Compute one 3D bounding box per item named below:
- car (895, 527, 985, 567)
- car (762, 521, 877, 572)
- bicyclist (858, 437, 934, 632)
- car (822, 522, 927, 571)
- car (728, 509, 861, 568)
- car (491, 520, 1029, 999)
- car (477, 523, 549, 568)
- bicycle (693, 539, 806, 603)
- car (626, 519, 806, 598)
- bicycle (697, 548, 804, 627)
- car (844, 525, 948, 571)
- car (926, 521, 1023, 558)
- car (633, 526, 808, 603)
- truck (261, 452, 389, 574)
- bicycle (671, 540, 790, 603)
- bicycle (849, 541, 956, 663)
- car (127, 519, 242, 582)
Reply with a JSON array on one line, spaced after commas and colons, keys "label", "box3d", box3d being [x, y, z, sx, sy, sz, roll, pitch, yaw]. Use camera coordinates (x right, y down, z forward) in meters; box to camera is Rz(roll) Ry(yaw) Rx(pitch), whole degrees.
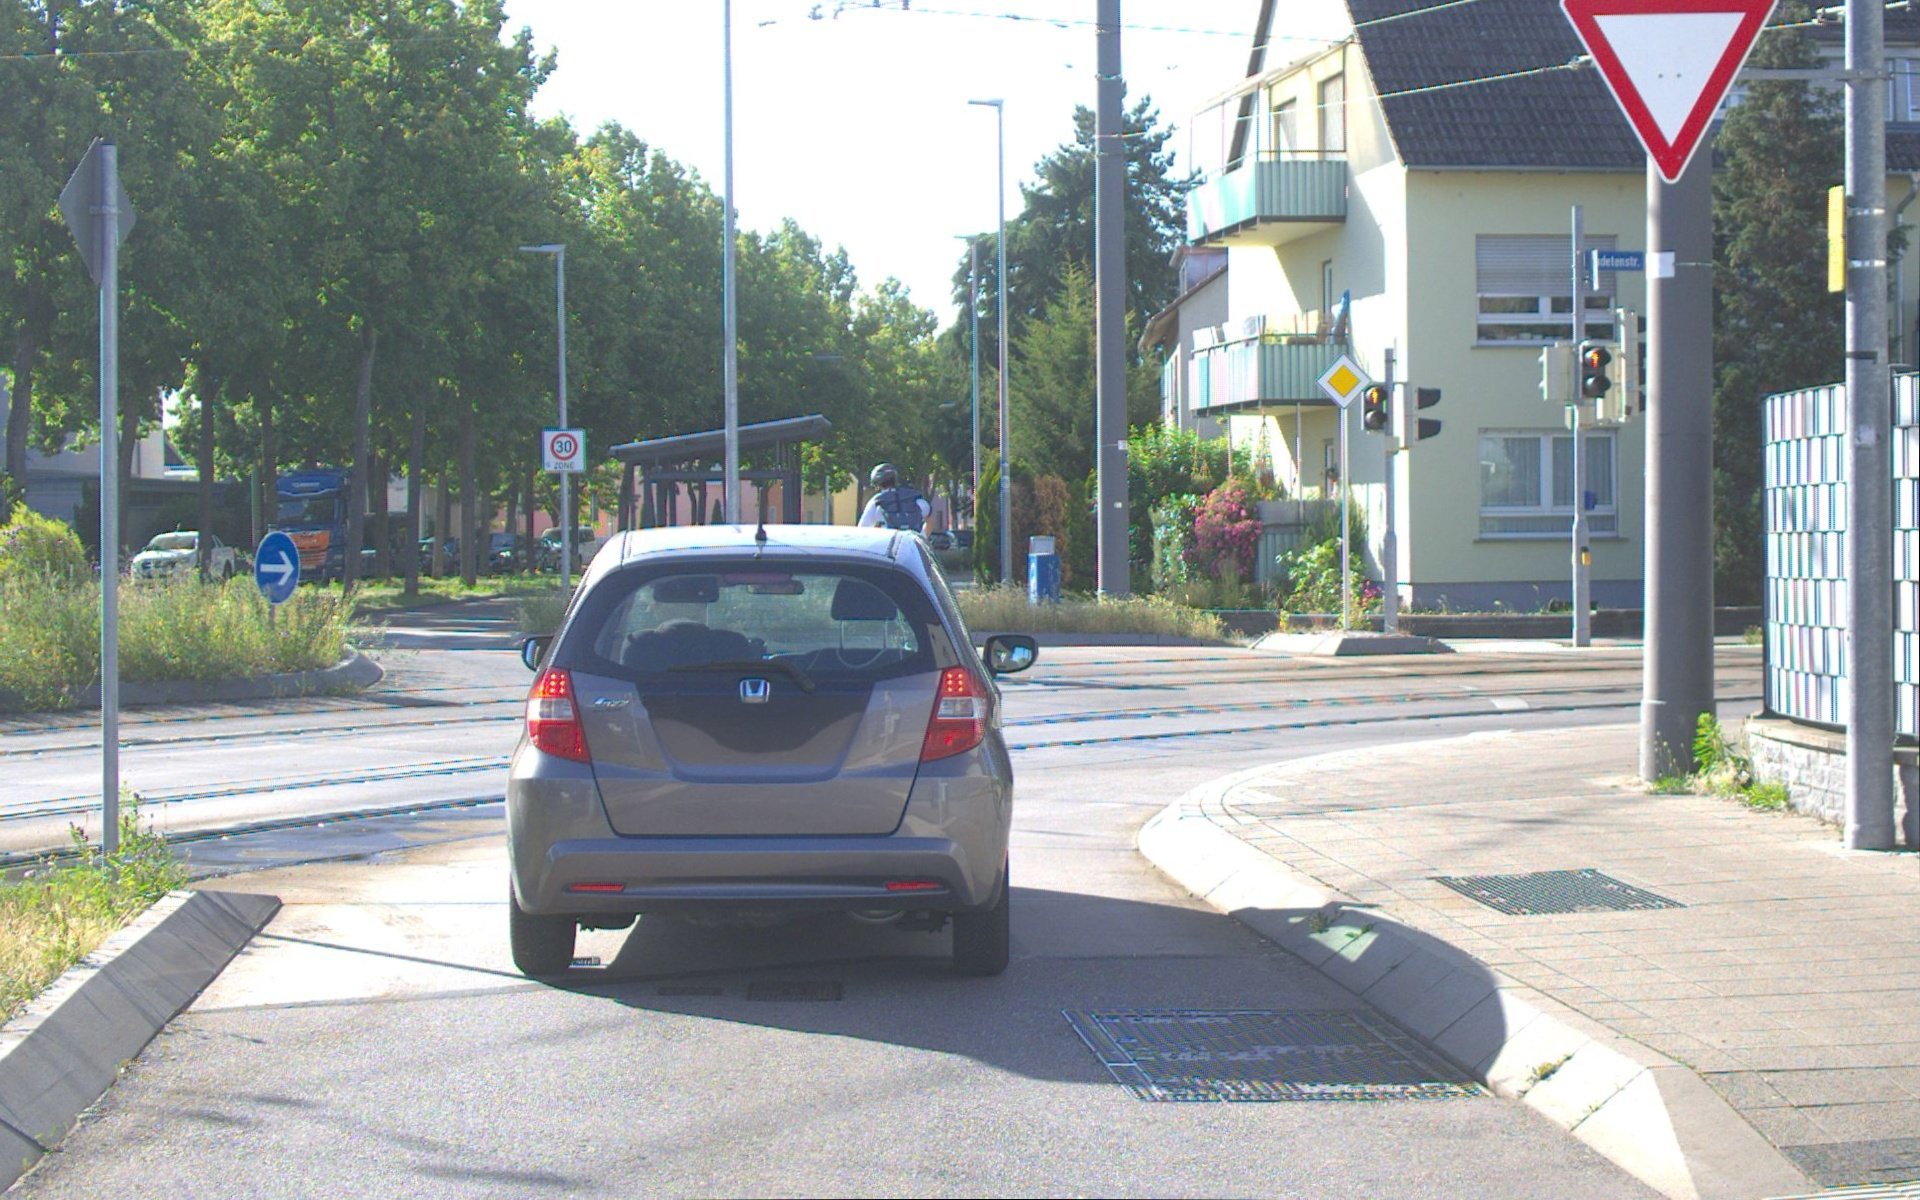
[{"label": "car", "box3d": [-0.797, -2.101, 136.112, 3.516, 1.528, 1.578, 1, 1, -1]}, {"label": "car", "box3d": [-4.315, -1.659, 106.218, 3.412, 1.528, 1.525, 0, 1, 3]}, {"label": "bicyclist", "box3d": [-0.573, -0.578, 30.700, 0.603, 1.708, 0.544, -1, -1, -6]}, {"label": "car", "box3d": [-2.777, -1.740, 111.945, 3.359, 1.528, 1.523, 1, 1, -1]}, {"label": "car", "box3d": [-4.493, -1.669, 93.502, 3.516, 1.528, 1.577, 1, 1, -1]}, {"label": "car", "box3d": [-0.685, 0.459, 12.786, 1.687, 1.486, 3.915, 0, 2, -2]}, {"label": "car", "box3d": [-16.288, -1.982, 125.497, 1.831, 1.575, 4.440, 1, 1, 3]}, {"label": "bicycle", "box3d": [-3.508, -0.484, 57.116, 1.840, 1.024, 0.689, 1, 1, -5]}, {"label": "car", "box3d": [-4.919, -0.843, 69.582, 3.516, 1.528, 1.577, 1, 1, -1]}, {"label": "bicycle", "box3d": [-3.315, -0.196, 54.330, 1.665, 1.203, 0.689, 1, 1, -5]}, {"label": "car", "box3d": [-2.163, -1.776, 116.695, 3.478, 1.488, 1.552, 1, 1, -1]}, {"label": "car", "box3d": [0.521, -2.214, 126.184, 3.516, 1.275, 1.578, 1, 1, -1]}, {"label": "car", "box3d": [-4.955, -0.747, 71.360, 3.516, 1.528, 1.577, 1, 1, -1]}, {"label": "truck", "box3d": [-21.754, -2.998, 118.099, 3.069, 3.979, 8.009, 1, 2, -2]}, {"label": "bicycle", "box3d": [-3.877, -0.479, 57.998, 1.972, 1.024, 0.696, 1, 1, -5]}, {"label": "bicycle", "box3d": [-0.519, 0.004, 30.454, 0.766, 1.033, 1.535, 0, 1, -8]}, {"label": "car", "box3d": [-22.612, -1.448, 100.429, 1.994, 1.766, 5.060, 1, 1, 2]}]
